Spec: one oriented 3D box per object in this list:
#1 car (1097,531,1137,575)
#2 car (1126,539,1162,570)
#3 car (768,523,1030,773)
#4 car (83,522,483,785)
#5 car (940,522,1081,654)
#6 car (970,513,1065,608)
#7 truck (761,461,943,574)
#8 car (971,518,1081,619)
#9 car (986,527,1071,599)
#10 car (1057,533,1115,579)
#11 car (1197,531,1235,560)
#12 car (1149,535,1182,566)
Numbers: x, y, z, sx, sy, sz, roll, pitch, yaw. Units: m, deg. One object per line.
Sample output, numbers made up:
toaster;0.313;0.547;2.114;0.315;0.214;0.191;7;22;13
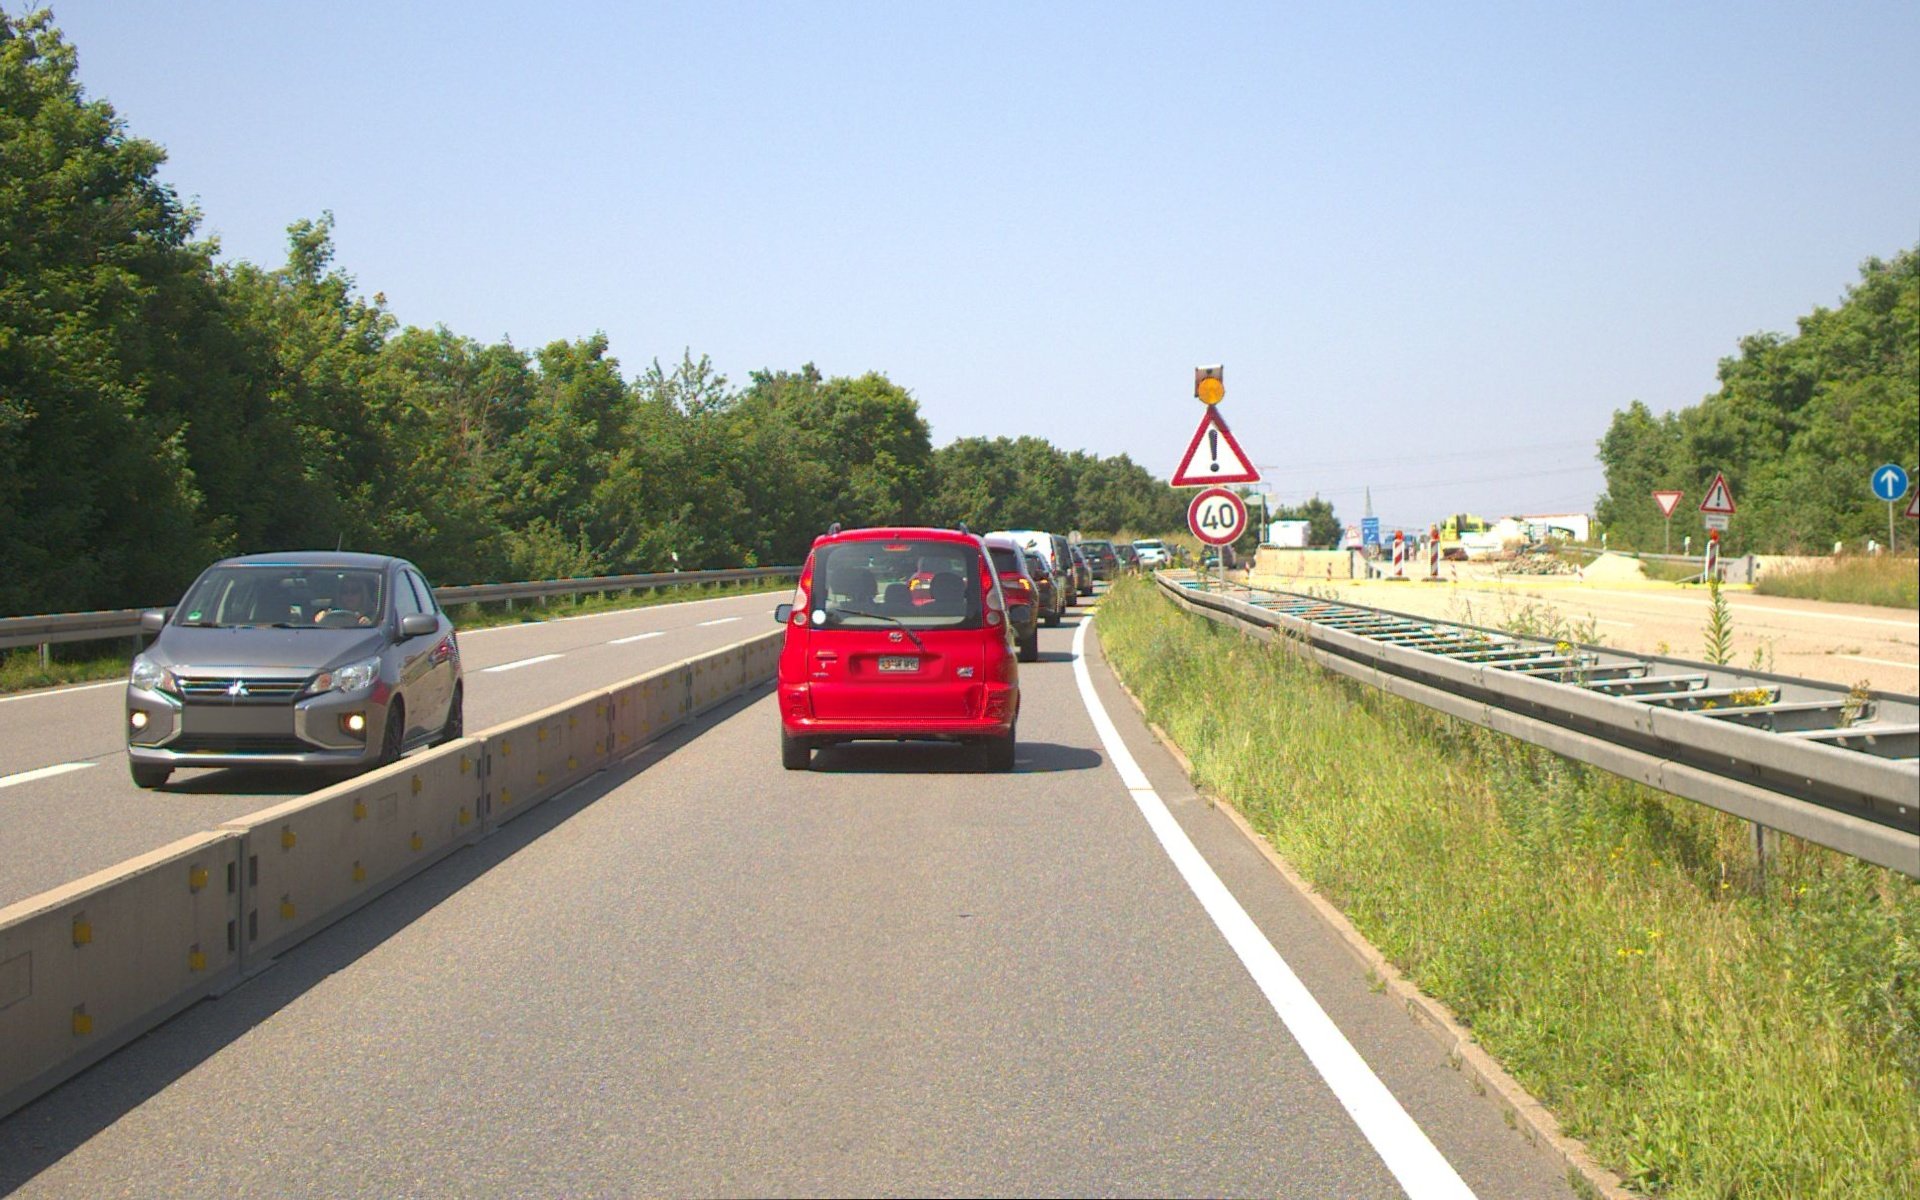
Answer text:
car;6.223;-1.857;135.993;1.502;1.730;3.169;0;1;3
car;8.133;-2.016;151.774;1.421;1.294;2.878;-1;1;5
car;-0.469;0.289;25.005;1.751;1.667;4.000;0;1;-2
car;-4.397;0.302;22.986;1.948;1.573;4.436;0;1;-2
car;0.702;-0.186;47.136;1.830;1.716;4.000;-1;1;1
car;1.225;-0.867;74.519;1.993;1.997;4.000;0;1;0
truck;-5.343;-4.106;171.143;8.621;5.357;3.388;-1;1;5
car;1.234;-0.593;64.884;1.993;1.831;4.000;-1;1;1
car;1.685;-0.931;85.938;1.993;1.744;4.000;-1;1;0
car;4.449;-1.552;120.823;1.994;1.579;4.000;0;1;3
car;14.244;-3.035;191.238;1.994;1.546;4.000;-1;1;3
car;10.017;-2.418;167.325;1.502;1.446;3.169;-1;1;5
